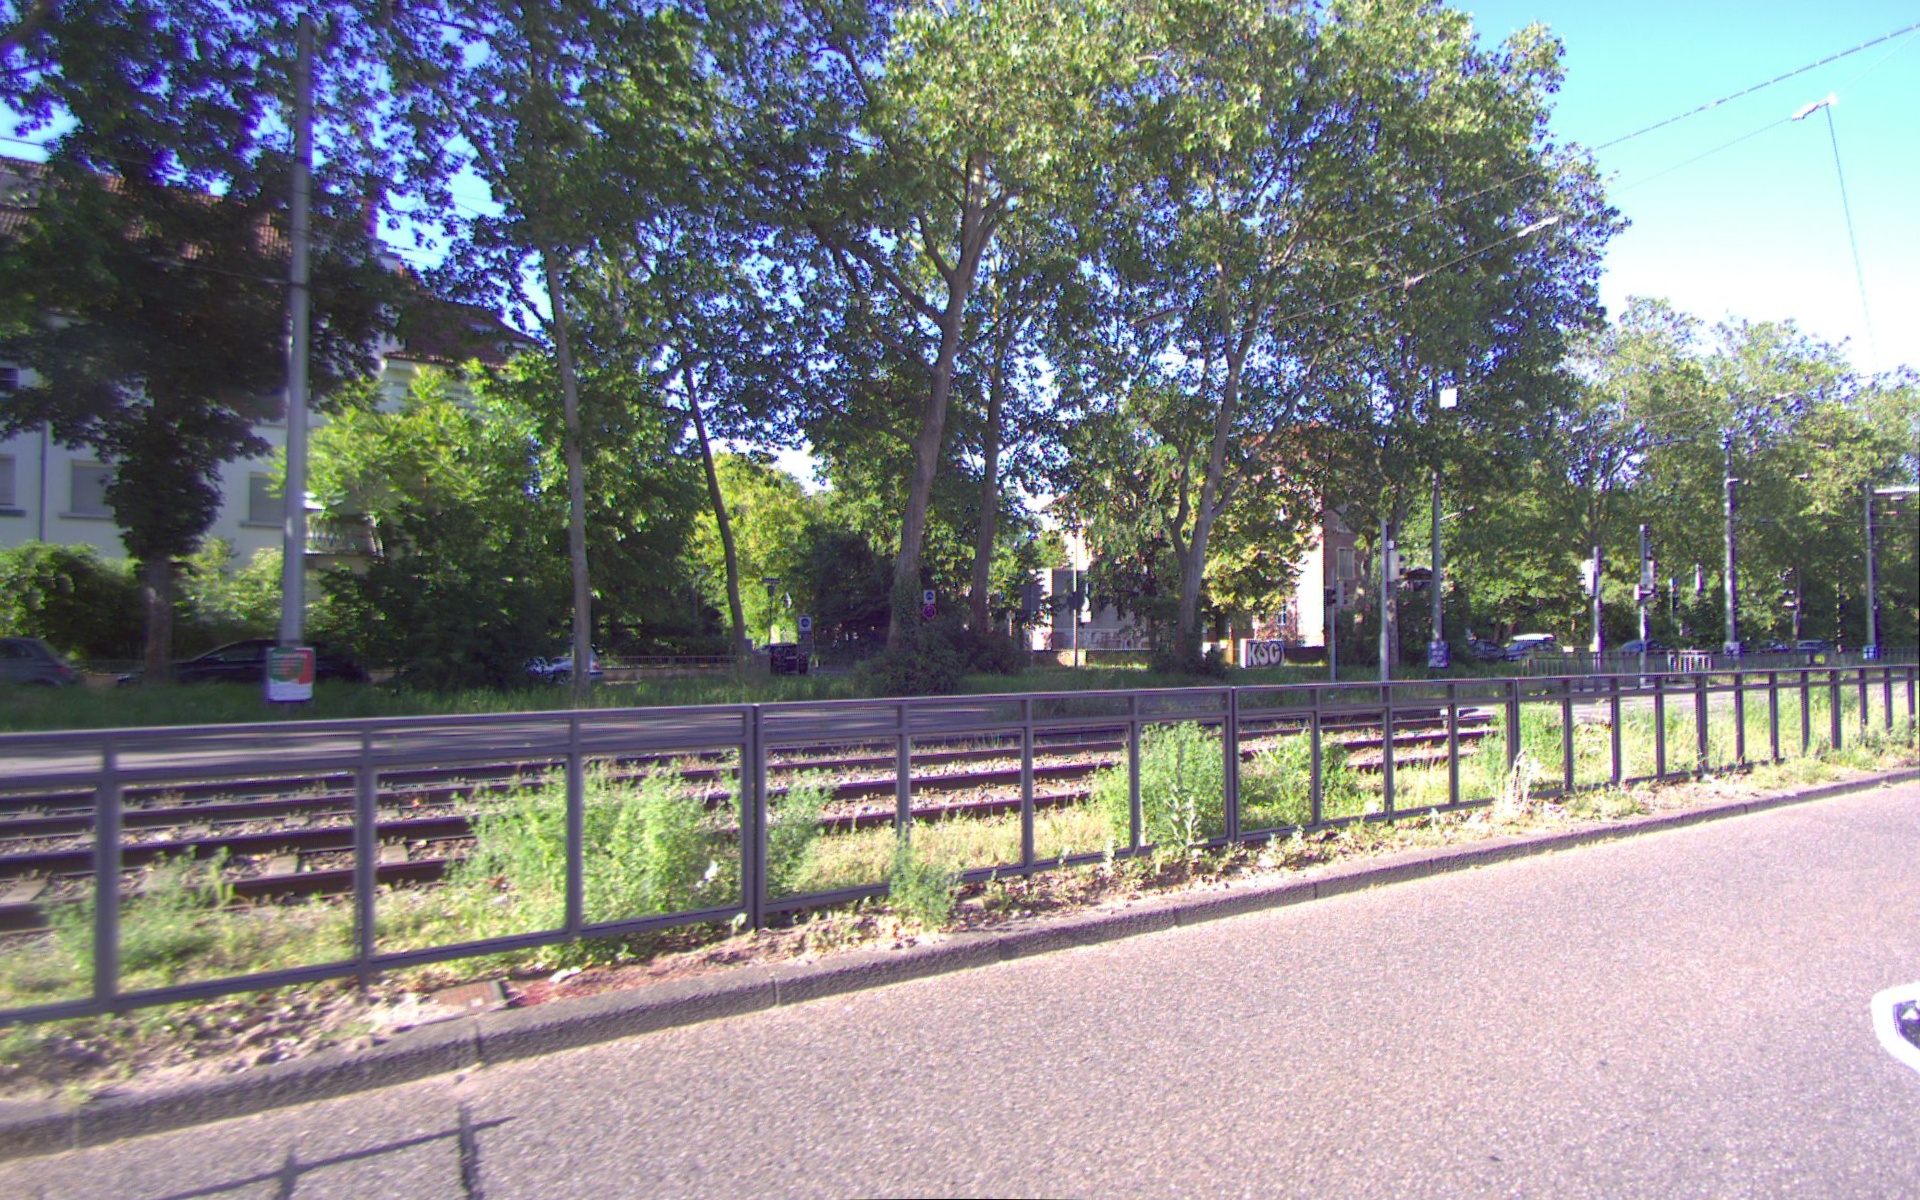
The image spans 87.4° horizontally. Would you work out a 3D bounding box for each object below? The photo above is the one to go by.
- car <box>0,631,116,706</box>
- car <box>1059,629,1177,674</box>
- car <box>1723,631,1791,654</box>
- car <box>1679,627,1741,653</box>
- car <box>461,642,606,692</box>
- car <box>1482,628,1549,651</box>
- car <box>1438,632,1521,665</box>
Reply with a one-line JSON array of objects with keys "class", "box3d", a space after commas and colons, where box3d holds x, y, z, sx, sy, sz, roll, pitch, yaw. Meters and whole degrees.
[{"class": "car", "box3d": [-19.739, 1.343, 19.949, 4.267, 1.460, 1.776, 1, -2, -30]}, {"class": "car", "box3d": [5.660, 1.789, 35.807, 4.099, 1.529, 1.660, 1, -2, -32]}, {"class": "car", "box3d": [50.473, 2.719, 63.609, 4.796, 1.366, 1.926, 2, -2, -32]}, {"class": "car", "box3d": [45.189, 2.381, 60.496, 4.099, 1.529, 1.660, 1, -1, -32]}, {"class": "car", "box3d": [-10.756, 1.657, 25.365, 3.184, 1.131, 1.463, 1, -2, -34]}, {"class": "car", "box3d": [38.138, 2.698, 69.019, 1.375, 1.514, 3.974, 1, -2, -26]}, {"class": "car", "box3d": [24.867, 2.290, 48.056, 4.099, 1.529, 1.660, 1, -2, -32]}]
